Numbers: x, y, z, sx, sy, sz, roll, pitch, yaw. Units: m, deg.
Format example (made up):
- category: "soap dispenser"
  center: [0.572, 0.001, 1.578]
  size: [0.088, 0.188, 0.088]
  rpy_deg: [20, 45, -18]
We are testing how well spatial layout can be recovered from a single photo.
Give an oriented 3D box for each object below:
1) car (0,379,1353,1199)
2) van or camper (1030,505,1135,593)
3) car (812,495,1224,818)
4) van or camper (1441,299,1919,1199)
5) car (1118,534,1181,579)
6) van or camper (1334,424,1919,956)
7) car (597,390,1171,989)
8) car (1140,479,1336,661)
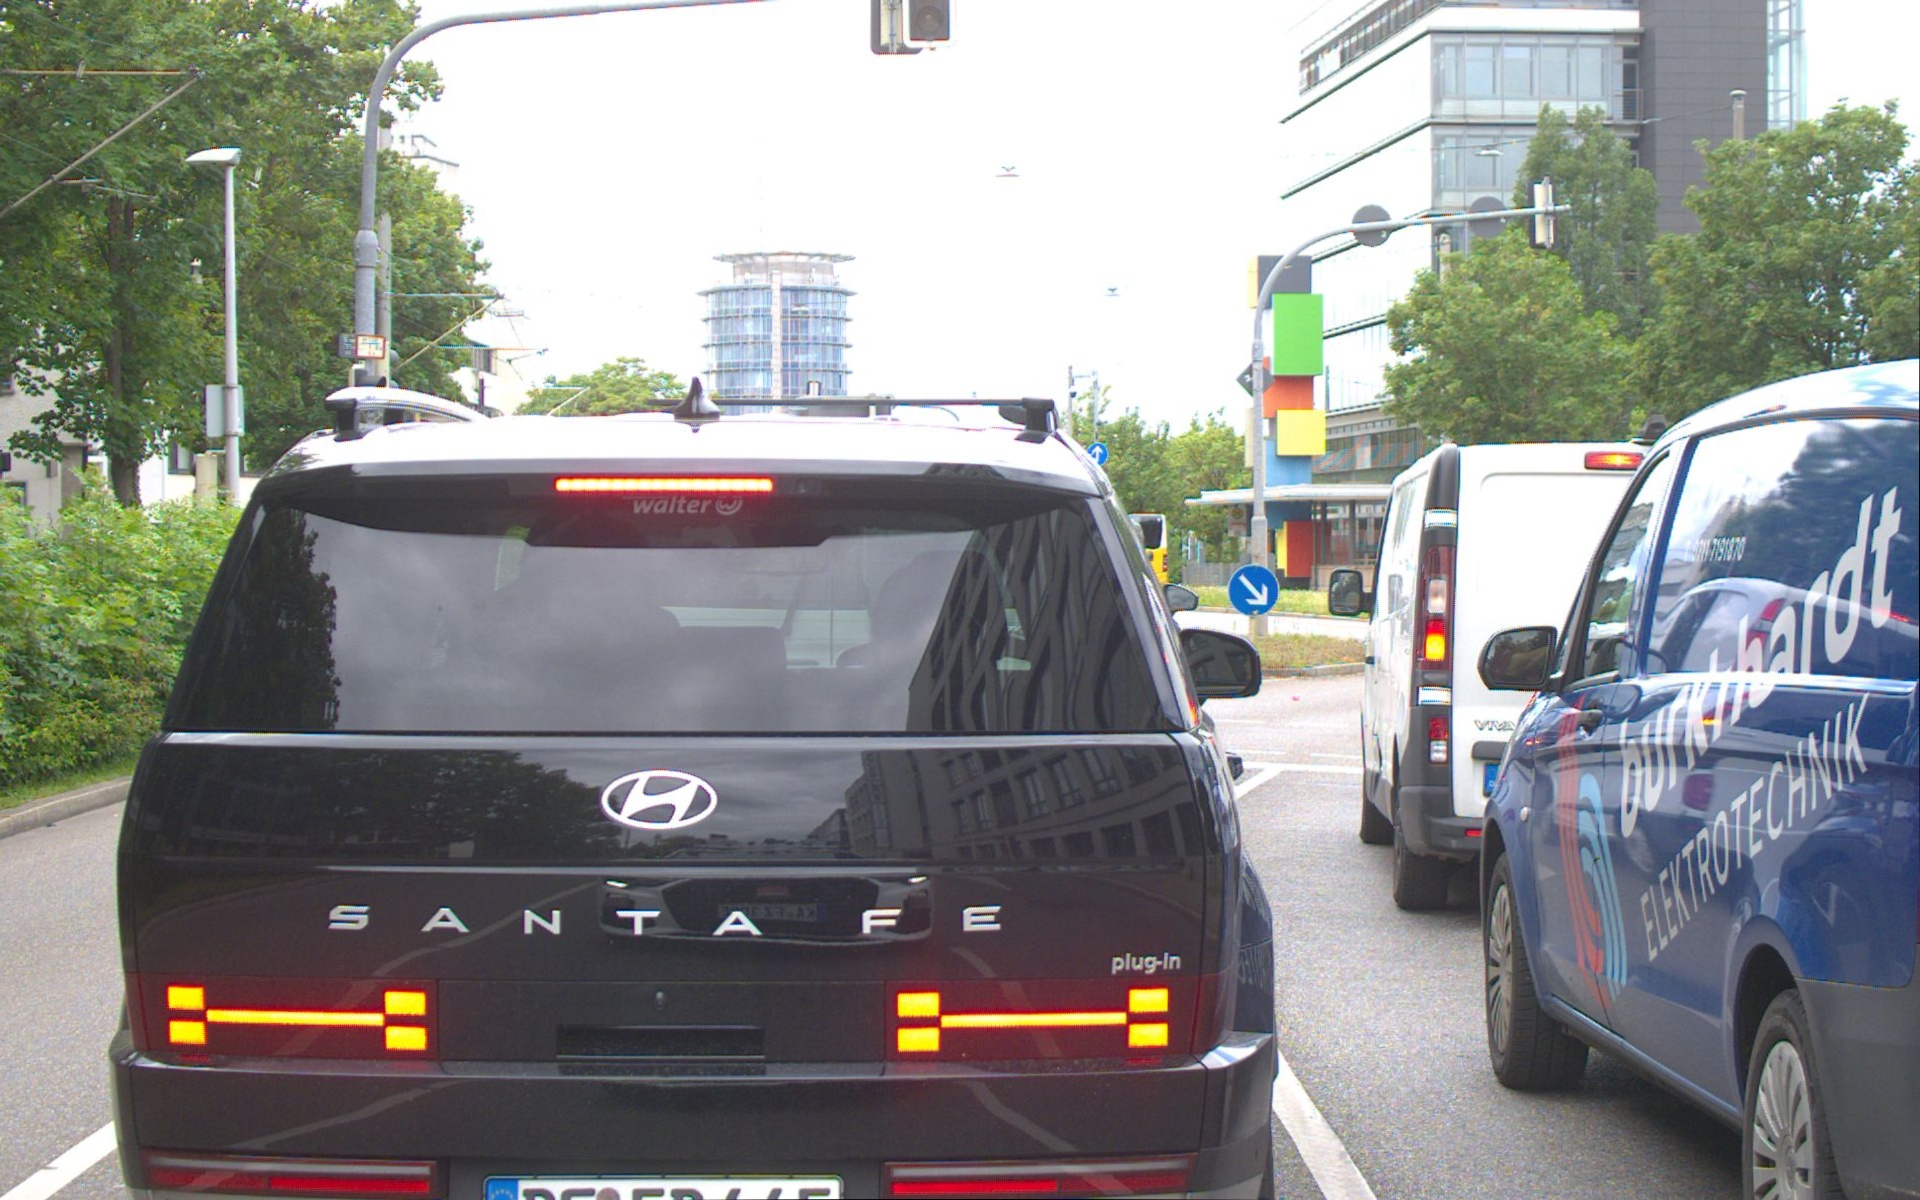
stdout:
- category: "car"
  center: [-0.412, 0.542, 6.683]
  size: [1.869, 1.754, 3.880]
  rpy_deg: [0, 1, -1]
- category: "van or camper"
  center: [3.729, -1.506, 103.147]
  size: [1.994, 2.538, 6.575]
  rpy_deg: [1, 0, 12]
- category: "car"
  center: [0.464, 0.283, 20.539]
  size: [1.776, 1.711, 4.336]
  rpy_deg: [1, 0, 10]
- category: "van or camper"
  center: [2.393, 0.441, 7.749]
  size: [1.859, 1.904, 5.032]
  rpy_deg: [0, 1, -1]
- category: "car"
  center: [7.258, -1.643, 131.818]
  size: [1.993, 1.678, 4.000]
  rpy_deg: [0, 0, -3]
- category: "van or camper"
  center: [2.825, 0.300, 15.415]
  size: [1.994, 2.007, 4.652]
  rpy_deg: [1, 1, 3]
- category: "car"
  center: [-0.276, 0.266, 13.446]
  size: [1.915, 1.996, 3.880]
  rpy_deg: [0, 1, -1]
- category: "car"
  center: [3.200, -0.347, 40.298]
  size: [1.993, 2.007, 4.000]
  rpy_deg: [0, 0, 1]
